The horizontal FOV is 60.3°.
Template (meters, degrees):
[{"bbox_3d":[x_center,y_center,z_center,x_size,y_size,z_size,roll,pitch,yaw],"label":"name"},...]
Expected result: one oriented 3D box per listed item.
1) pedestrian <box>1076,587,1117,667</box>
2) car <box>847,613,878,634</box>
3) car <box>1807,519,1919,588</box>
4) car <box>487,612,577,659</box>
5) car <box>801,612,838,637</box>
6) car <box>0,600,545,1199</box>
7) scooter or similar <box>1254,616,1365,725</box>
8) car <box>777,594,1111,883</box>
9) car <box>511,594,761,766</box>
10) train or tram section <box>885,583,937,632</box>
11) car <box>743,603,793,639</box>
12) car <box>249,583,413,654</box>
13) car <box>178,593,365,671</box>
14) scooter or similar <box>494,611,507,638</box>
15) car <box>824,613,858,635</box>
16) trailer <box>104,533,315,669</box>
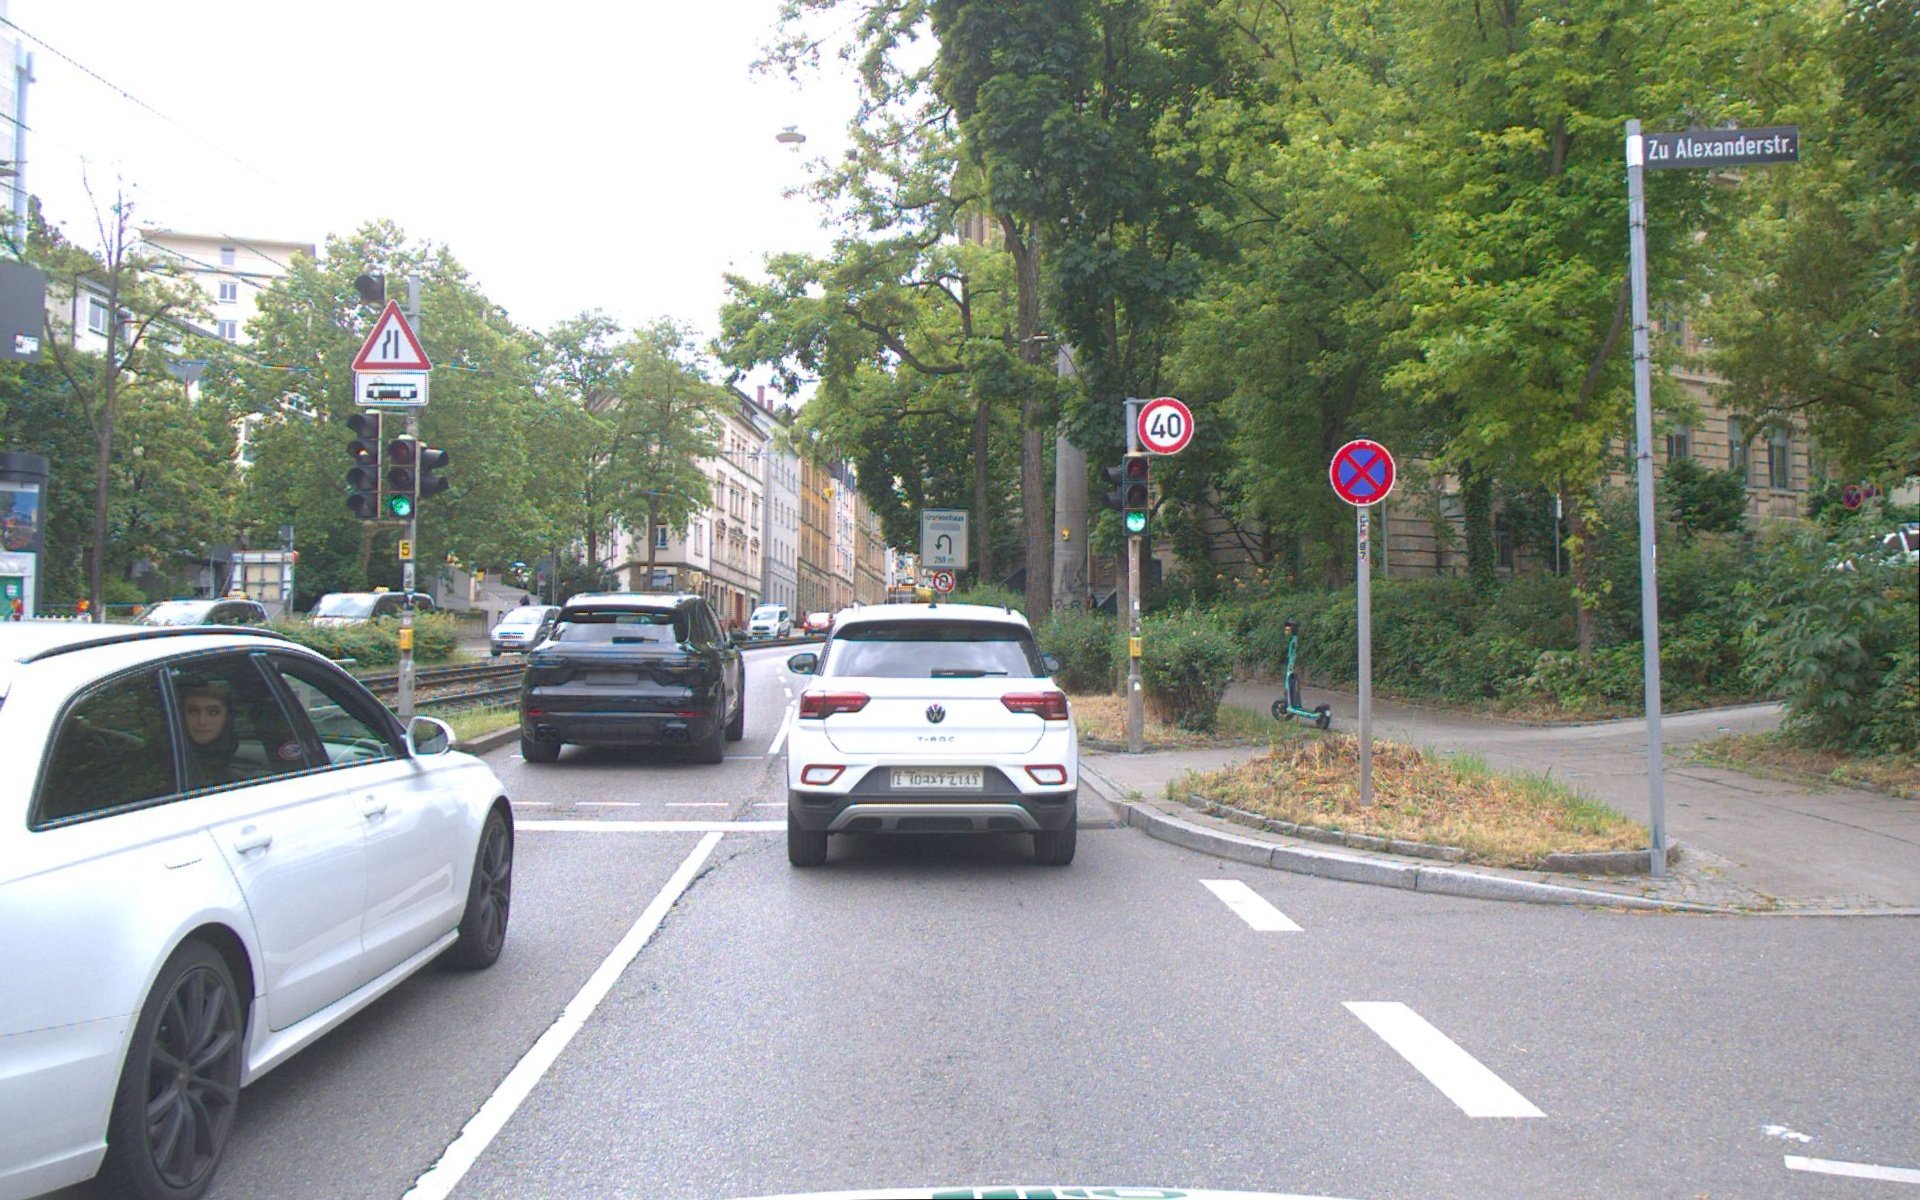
[{"bbox_3d":[3.001,0.586,36.367,0.757,1.733,0.784,0,-1,-7],"label":"pedestrian"},{"bbox_3d":[-7.508,1.824,127.989,1.952,1.579,4.001,0,-1,3],"label":"car"},{"bbox_3d":[30.463,-1.557,54.138,5.137,1.967,2.160,-3,-2,-26],"label":"car"},{"bbox_3d":[-13.790,1.123,53.512,1.624,1.468,3.742,0,0,6],"label":"car"},{"bbox_3d":[-9.383,1.627,110.856,1.952,1.579,4.001,0,-1,3],"label":"car"},{"bbox_3d":[-2.788,0.756,5.201,1.840,1.480,4.616,0,-1,-1],"label":"car"},{"bbox_3d":[4.085,0.802,19.442,0.620,1.231,1.551,0,-1,-16],"label":"scooter or similar"},{"bbox_3d":[-0.230,0.774,11.112,1.842,1.582,3.996,0,-1,-4],"label":"car"},{"bbox_3d":[-3.278,0.764,17.598,1.997,1.599,4.355,0,-1,-3],"label":"car"},{"bbox_3d":[-3.993,0.668,137.972,2.822,3.791,14.862,2,0,4],"label":"train or tram section"},{"bbox_3d":[-10.891,1.157,94.217,1.906,1.980,5.005,0,0,5],"label":"car"},{"bbox_3d":[-15.223,0.436,40.323,1.951,1.633,4.612,0,0,4],"label":"car"},{"bbox_3d":[-15.247,0.685,36.922,1.951,1.633,4.622,0,0,4],"label":"car"},{"bbox_3d":[-21.202,1.127,76.335,0.481,1.240,1.635,3,-2,-15],"label":"scooter or similar"},{"bbox_3d":[-8.475,1.694,118.300,1.952,1.579,4.001,0,-1,3],"label":"car"},{"bbox_3d":[-18.083,0.051,40.232,1.976,3.025,5.593,1,-1,7],"label":"trailer"}]
